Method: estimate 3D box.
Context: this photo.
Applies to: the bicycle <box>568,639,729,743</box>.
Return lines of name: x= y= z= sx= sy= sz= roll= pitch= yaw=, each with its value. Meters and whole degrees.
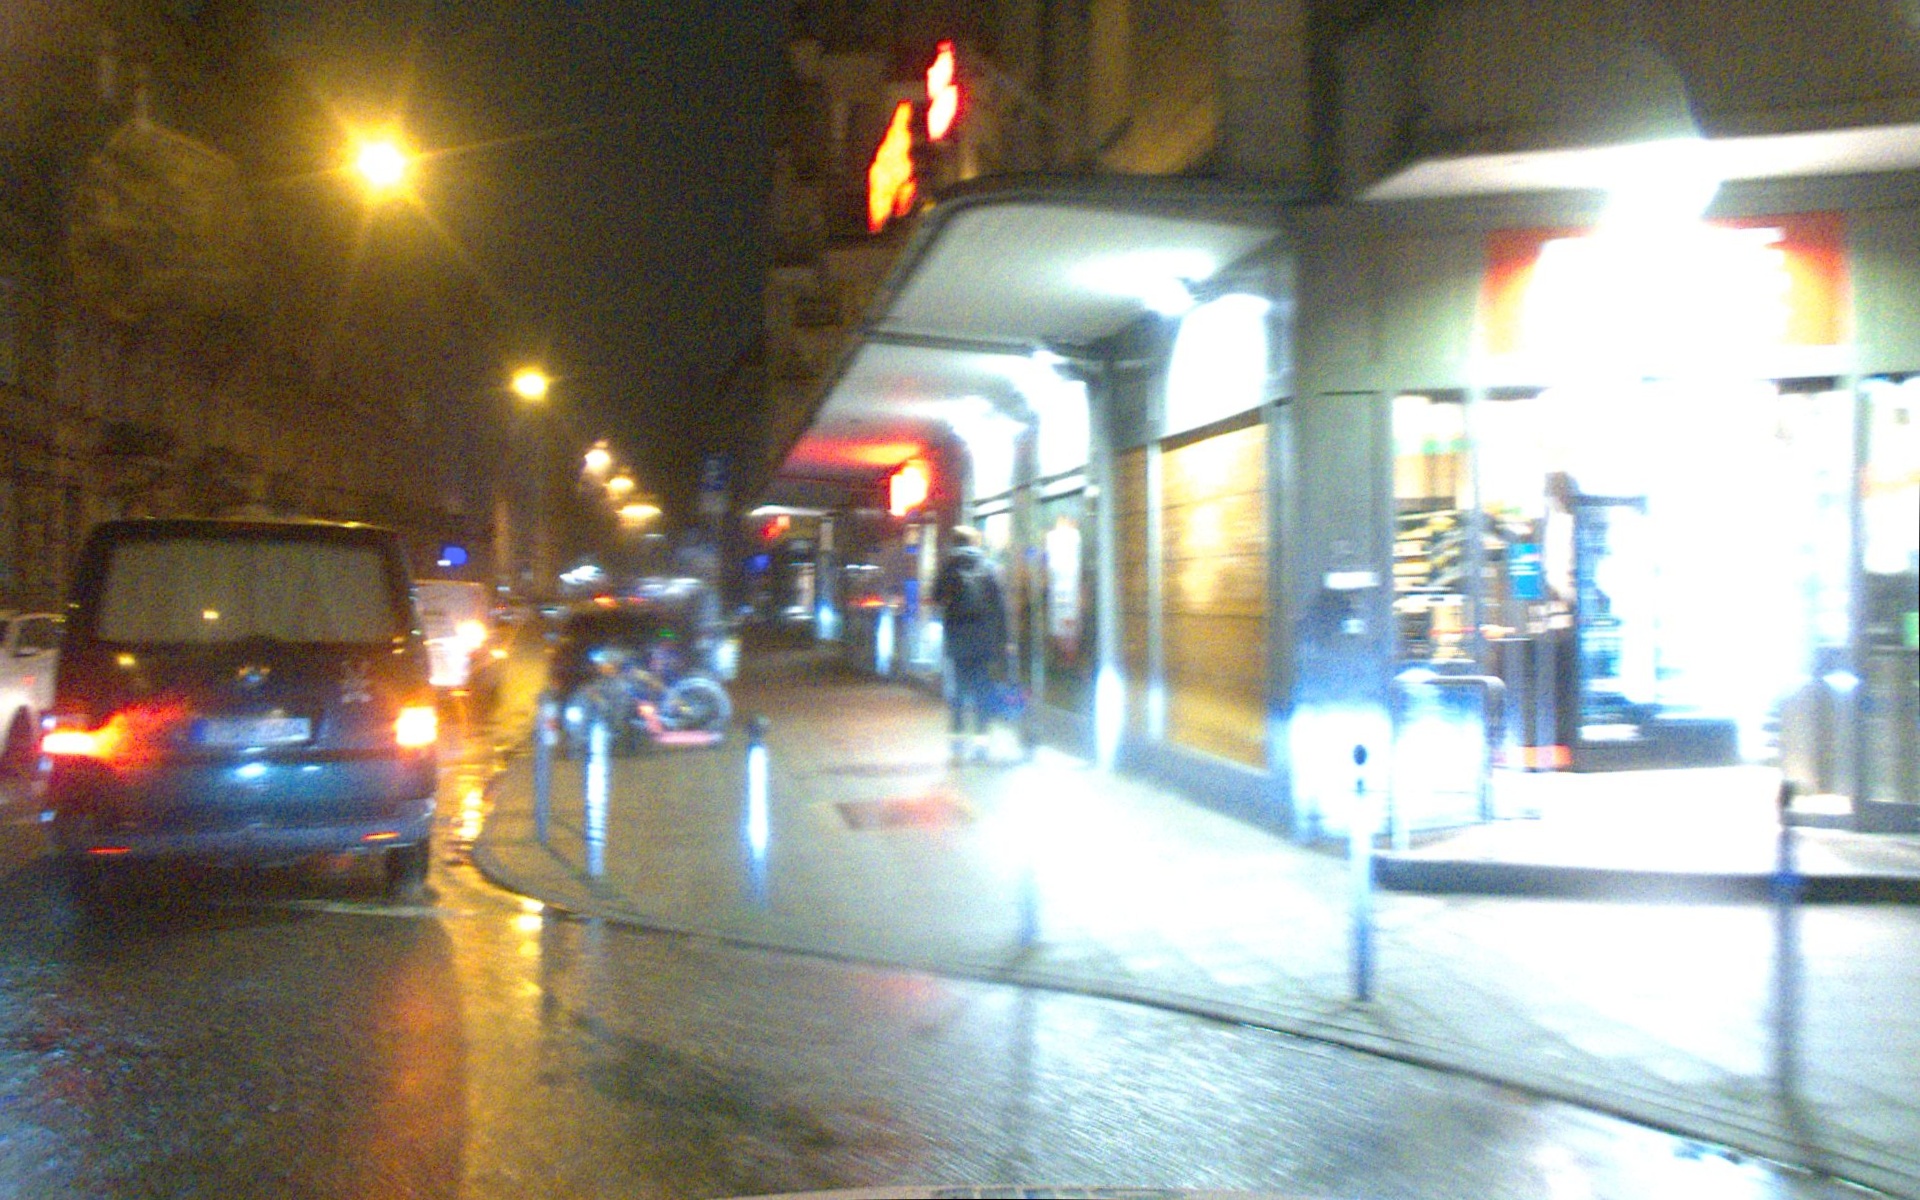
bicycle: x=-3.444 y=0.994 z=18.326 sx=1.730 sy=1.098 sz=0.434 roll=0 pitch=0 yaw=-12

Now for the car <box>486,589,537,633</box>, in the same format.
car: x=-21.736 y=0.523 z=80.274 sx=1.957 sy=2.049 sz=3.991 roll=2 pitch=-1 yaw=-10

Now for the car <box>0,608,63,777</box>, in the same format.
car: x=-9.022 y=0.833 z=13.588 sx=1.534 sy=1.452 sz=4.062 roll=-1 pitch=1 yaw=-8

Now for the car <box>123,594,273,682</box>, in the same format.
car: x=-13.787 y=0.650 z=30.094 sx=1.557 sy=1.474 sz=3.496 roll=1 pitch=0 yaw=-9

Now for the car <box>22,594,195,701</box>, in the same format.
car: x=-13.085 y=0.691 z=25.572 sx=1.557 sy=1.536 sz=2.782 roll=1 pitch=0 yaw=-9

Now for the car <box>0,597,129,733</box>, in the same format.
car: x=-12.260 y=0.765 z=21.273 sx=1.557 sy=1.489 sz=4.016 roll=3 pitch=0 yaw=-9

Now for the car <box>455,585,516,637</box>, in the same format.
car: x=-19.775 y=0.460 z=69.062 sx=1.957 sy=2.049 sz=3.991 roll=2 pitch=-1 yaw=-10

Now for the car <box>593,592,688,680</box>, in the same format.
car: x=-6.373 y=0.706 z=33.118 sx=1.721 sy=1.636 sz=3.979 roll=1 pitch=-1 yaw=-10

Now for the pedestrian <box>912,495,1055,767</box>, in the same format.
pedestrian: x=0.187 y=0.255 z=14.313 sx=1.034 sy=2.247 sz=0.968 roll=-1 pitch=0 yaw=-10

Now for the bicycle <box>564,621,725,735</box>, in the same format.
bicycle: x=-3.608 y=0.883 z=18.954 sx=1.731 sy=1.144 sz=0.434 roll=-4 pitch=1 yaw=-12

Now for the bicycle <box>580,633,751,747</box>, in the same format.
bicycle: x=-3.111 y=0.939 z=17.502 sx=1.751 sy=1.144 sz=0.434 roll=-1 pitch=0 yaw=-12

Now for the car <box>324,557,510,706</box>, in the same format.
car: x=-7.832 y=0.410 z=24.306 sx=2.086 sy=1.956 sz=4.811 roll=1 pitch=0 yaw=-13

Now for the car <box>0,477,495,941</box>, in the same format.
car: x=-4.044 y=0.469 z=9.754 sx=2.092 sy=2.026 sz=4.572 roll=0 pitch=0 yaw=-21

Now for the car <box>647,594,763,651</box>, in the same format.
car: x=-9.623 y=0.840 z=62.340 sx=3.938 sy=2.049 sz=1.983 roll=0 pitch=-1 yaw=-26

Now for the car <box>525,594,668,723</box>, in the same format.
car: x=-4.924 y=0.766 z=22.794 sx=1.721 sy=1.593 sz=4.143 roll=1 pitch=-1 yaw=-10
